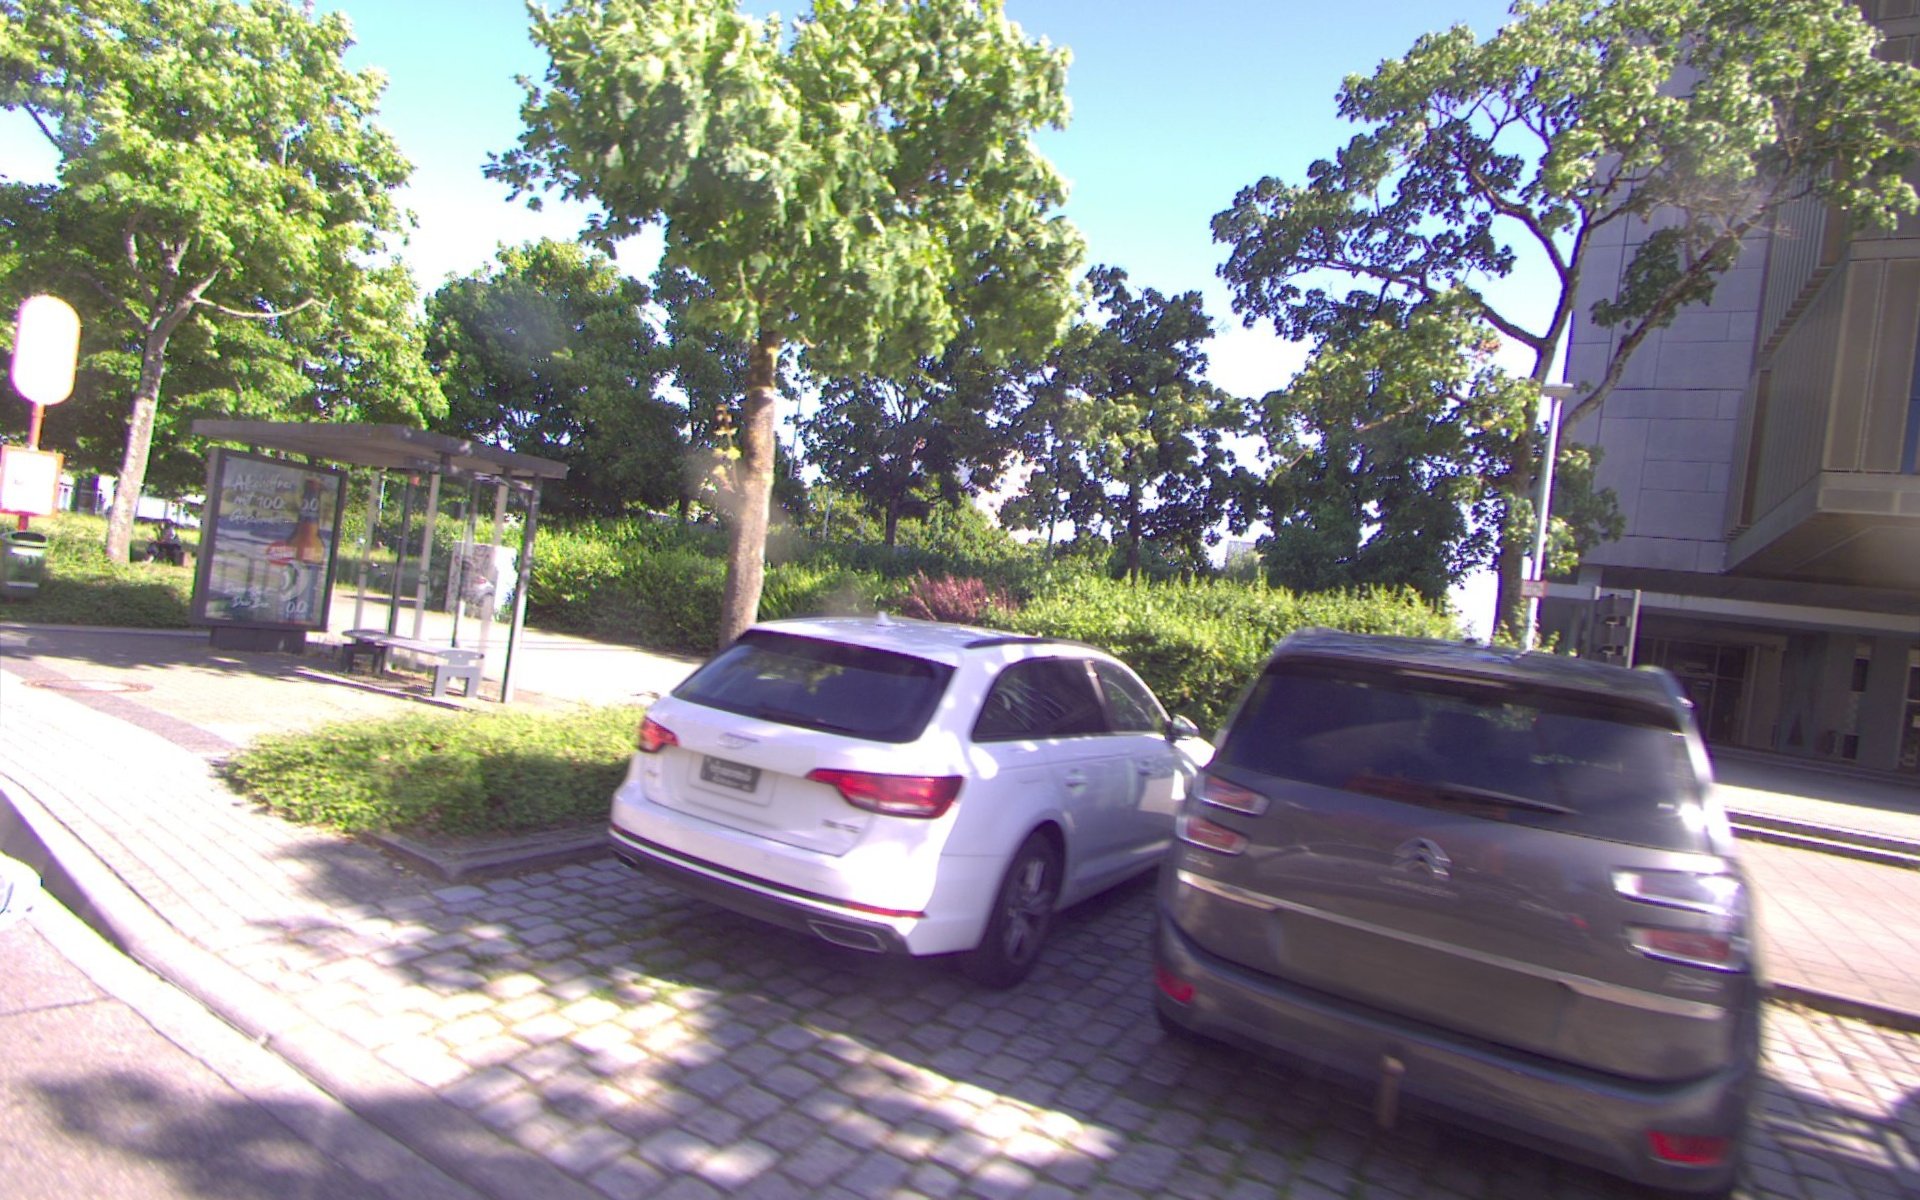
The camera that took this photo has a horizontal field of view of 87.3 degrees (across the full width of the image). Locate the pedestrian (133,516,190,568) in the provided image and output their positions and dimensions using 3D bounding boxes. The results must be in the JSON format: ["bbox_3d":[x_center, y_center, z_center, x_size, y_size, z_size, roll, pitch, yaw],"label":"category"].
[{"bbox_3d":[-21.225,-1.531,26.760,0.715,1.232,0.847,7,0,18],"label":"pedestrian"}]

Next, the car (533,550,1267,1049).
[{"bbox_3d":[0.188,0.798,5.629,1.863,1.480,4.410,7,-1,30],"label":"car"}]

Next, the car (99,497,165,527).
[{"bbox_3d":[-69.425,-7.351,84.404,1.667,1.594,3.868,6,-4,34],"label":"car"}]

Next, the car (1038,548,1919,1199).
[{"bbox_3d":[2.301,0.937,4.604,2.039,1.660,4.410,7,-1,30],"label":"car"}]
